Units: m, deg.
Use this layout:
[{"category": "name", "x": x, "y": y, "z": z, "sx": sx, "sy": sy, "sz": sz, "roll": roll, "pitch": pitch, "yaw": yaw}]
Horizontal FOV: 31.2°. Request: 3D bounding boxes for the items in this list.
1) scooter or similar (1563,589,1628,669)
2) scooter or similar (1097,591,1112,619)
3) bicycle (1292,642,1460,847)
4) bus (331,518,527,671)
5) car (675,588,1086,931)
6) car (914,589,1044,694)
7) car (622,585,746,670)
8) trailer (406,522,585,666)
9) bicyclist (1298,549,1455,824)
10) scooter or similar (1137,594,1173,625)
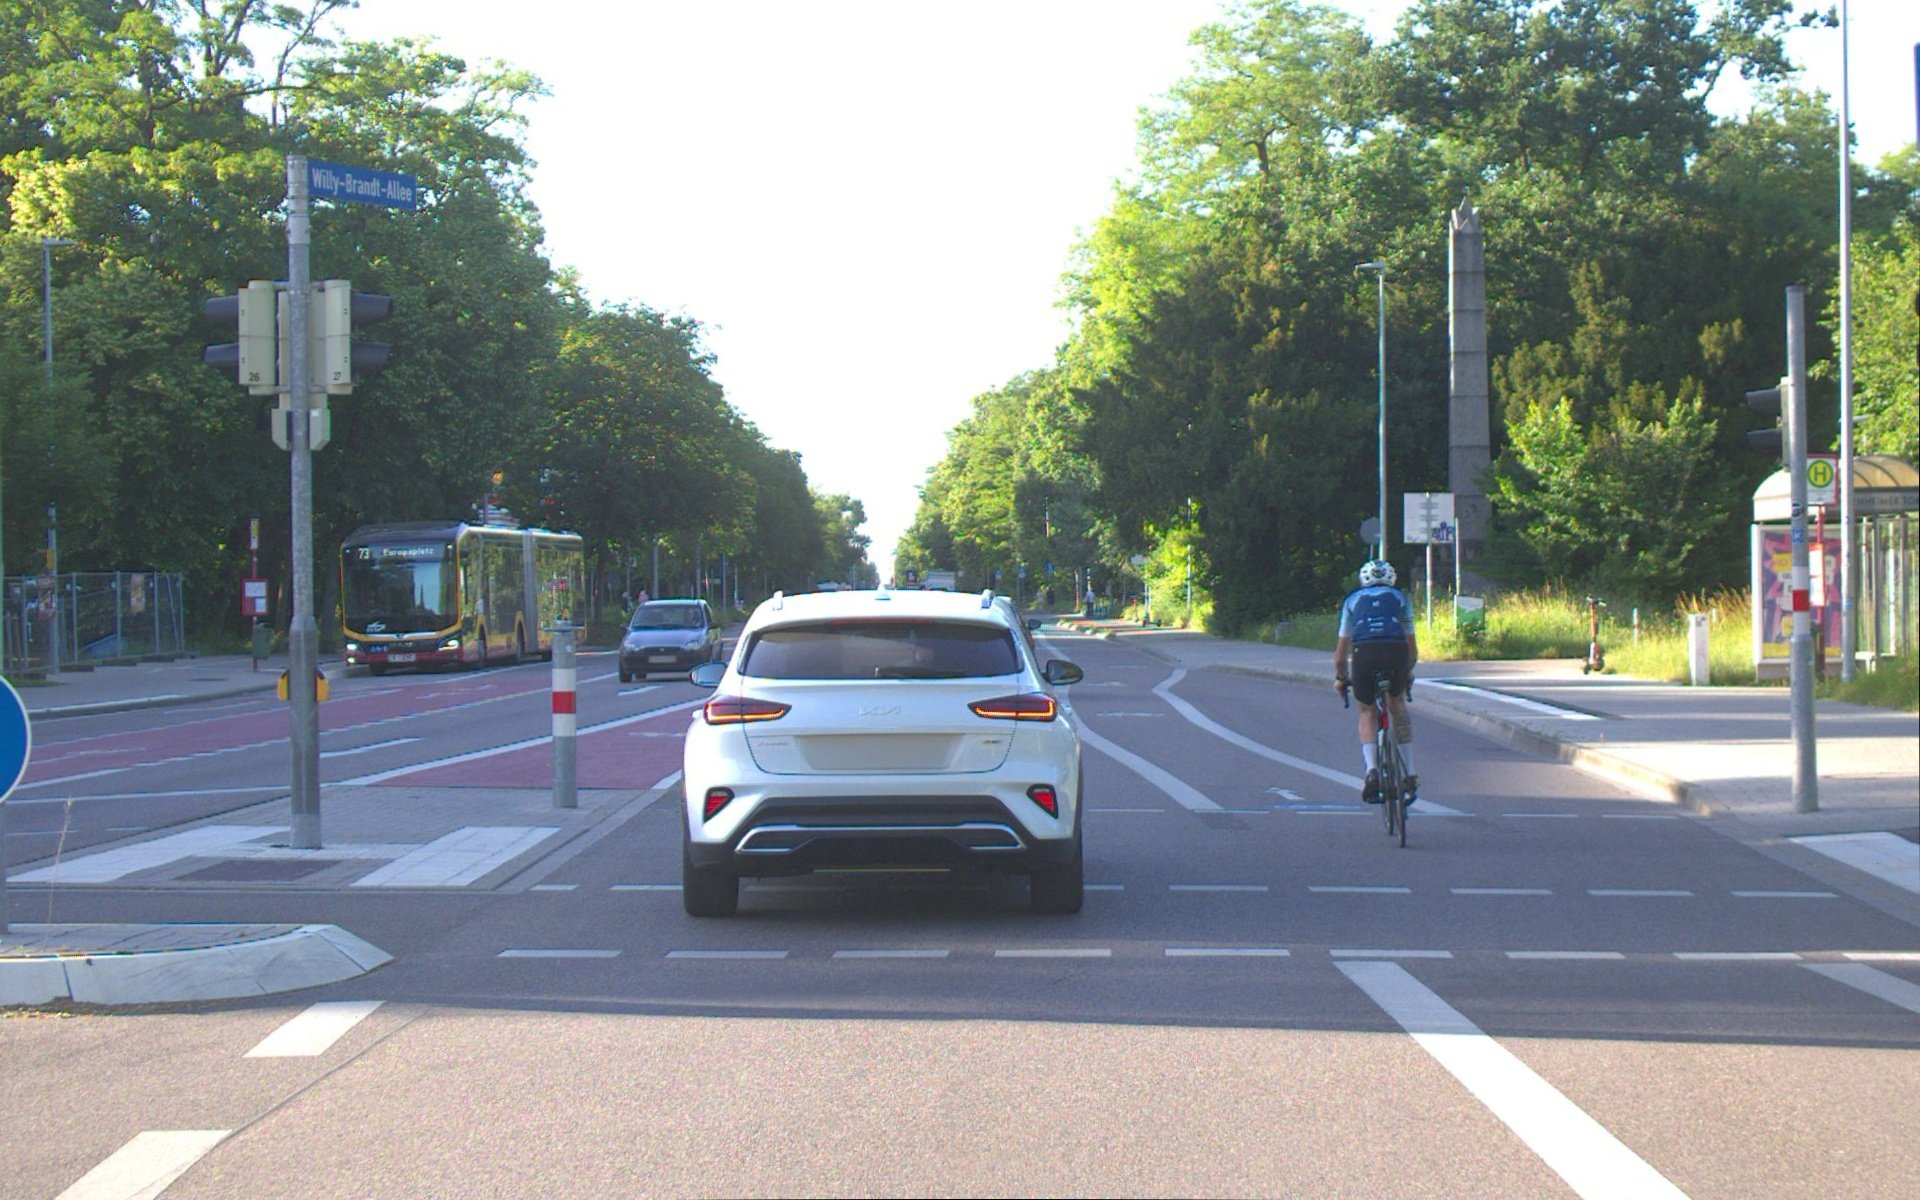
[{"category": "scooter or similar", "x": 10.142, "y": 0.450, "z": 54.805, "sx": 0.722, "sy": 1.243, "sz": 1.326, "roll": -1, "pitch": 0, "yaw": 23}, {"category": "scooter or similar", "x": 7.675, "y": 0.262, "z": 182.303, "sx": 0.682, "sy": 1.418, "sz": 1.682, "roll": -1, "pitch": 0, "yaw": -1}, {"category": "bicycle", "x": 2.422, "y": 0.819, "z": 20.234, "sx": 0.891, "sy": 1.092, "sz": 2.136, "roll": 1, "pitch": 0, "yaw": 5}, {"category": "bus", "x": -11.771, "y": -0.127, "z": 77.008, "sx": 2.840, "sy": 3.186, "sz": 8.599, "roll": -1, "pitch": 0, "yaw": 1}, {"category": "car", "x": -0.479, "y": 0.681, "z": 16.717, "sx": 1.761, "sy": 1.454, "sz": 3.818, "roll": -1, "pitch": 0, "yaw": -4}, {"category": "car", "x": 0.300, "y": 0.567, "z": 48.937, "sx": 1.676, "sy": 1.413, "sz": 3.573, "roll": -1, "pitch": 0, "yaw": 3}, {"category": "car", "x": -4.846, "y": 0.452, "z": 60.929, "sx": 1.710, "sy": 1.416, "sz": 4.554, "roll": -1, "pitch": 0, "yaw": 1}, {"category": "trailer", "x": -11.501, "y": -0.123, "z": 85.979, "sx": 2.855, "sy": 3.344, "sz": 9.361, "roll": 1, "pitch": 0, "yaw": 2}, {"category": "bicyclist", "x": 2.428, "y": 0.491, "z": 20.114, "sx": 0.860, "sy": 1.562, "sz": 0.881, "roll": 1, "pitch": 0, "yaw": 5}, {"category": "scooter or similar", "x": 7.863, "y": 0.378, "z": 138.682, "sx": 1.537, "sy": 1.246, "sz": 0.534, "roll": -1, "pitch": 0, "yaw": -44}]
